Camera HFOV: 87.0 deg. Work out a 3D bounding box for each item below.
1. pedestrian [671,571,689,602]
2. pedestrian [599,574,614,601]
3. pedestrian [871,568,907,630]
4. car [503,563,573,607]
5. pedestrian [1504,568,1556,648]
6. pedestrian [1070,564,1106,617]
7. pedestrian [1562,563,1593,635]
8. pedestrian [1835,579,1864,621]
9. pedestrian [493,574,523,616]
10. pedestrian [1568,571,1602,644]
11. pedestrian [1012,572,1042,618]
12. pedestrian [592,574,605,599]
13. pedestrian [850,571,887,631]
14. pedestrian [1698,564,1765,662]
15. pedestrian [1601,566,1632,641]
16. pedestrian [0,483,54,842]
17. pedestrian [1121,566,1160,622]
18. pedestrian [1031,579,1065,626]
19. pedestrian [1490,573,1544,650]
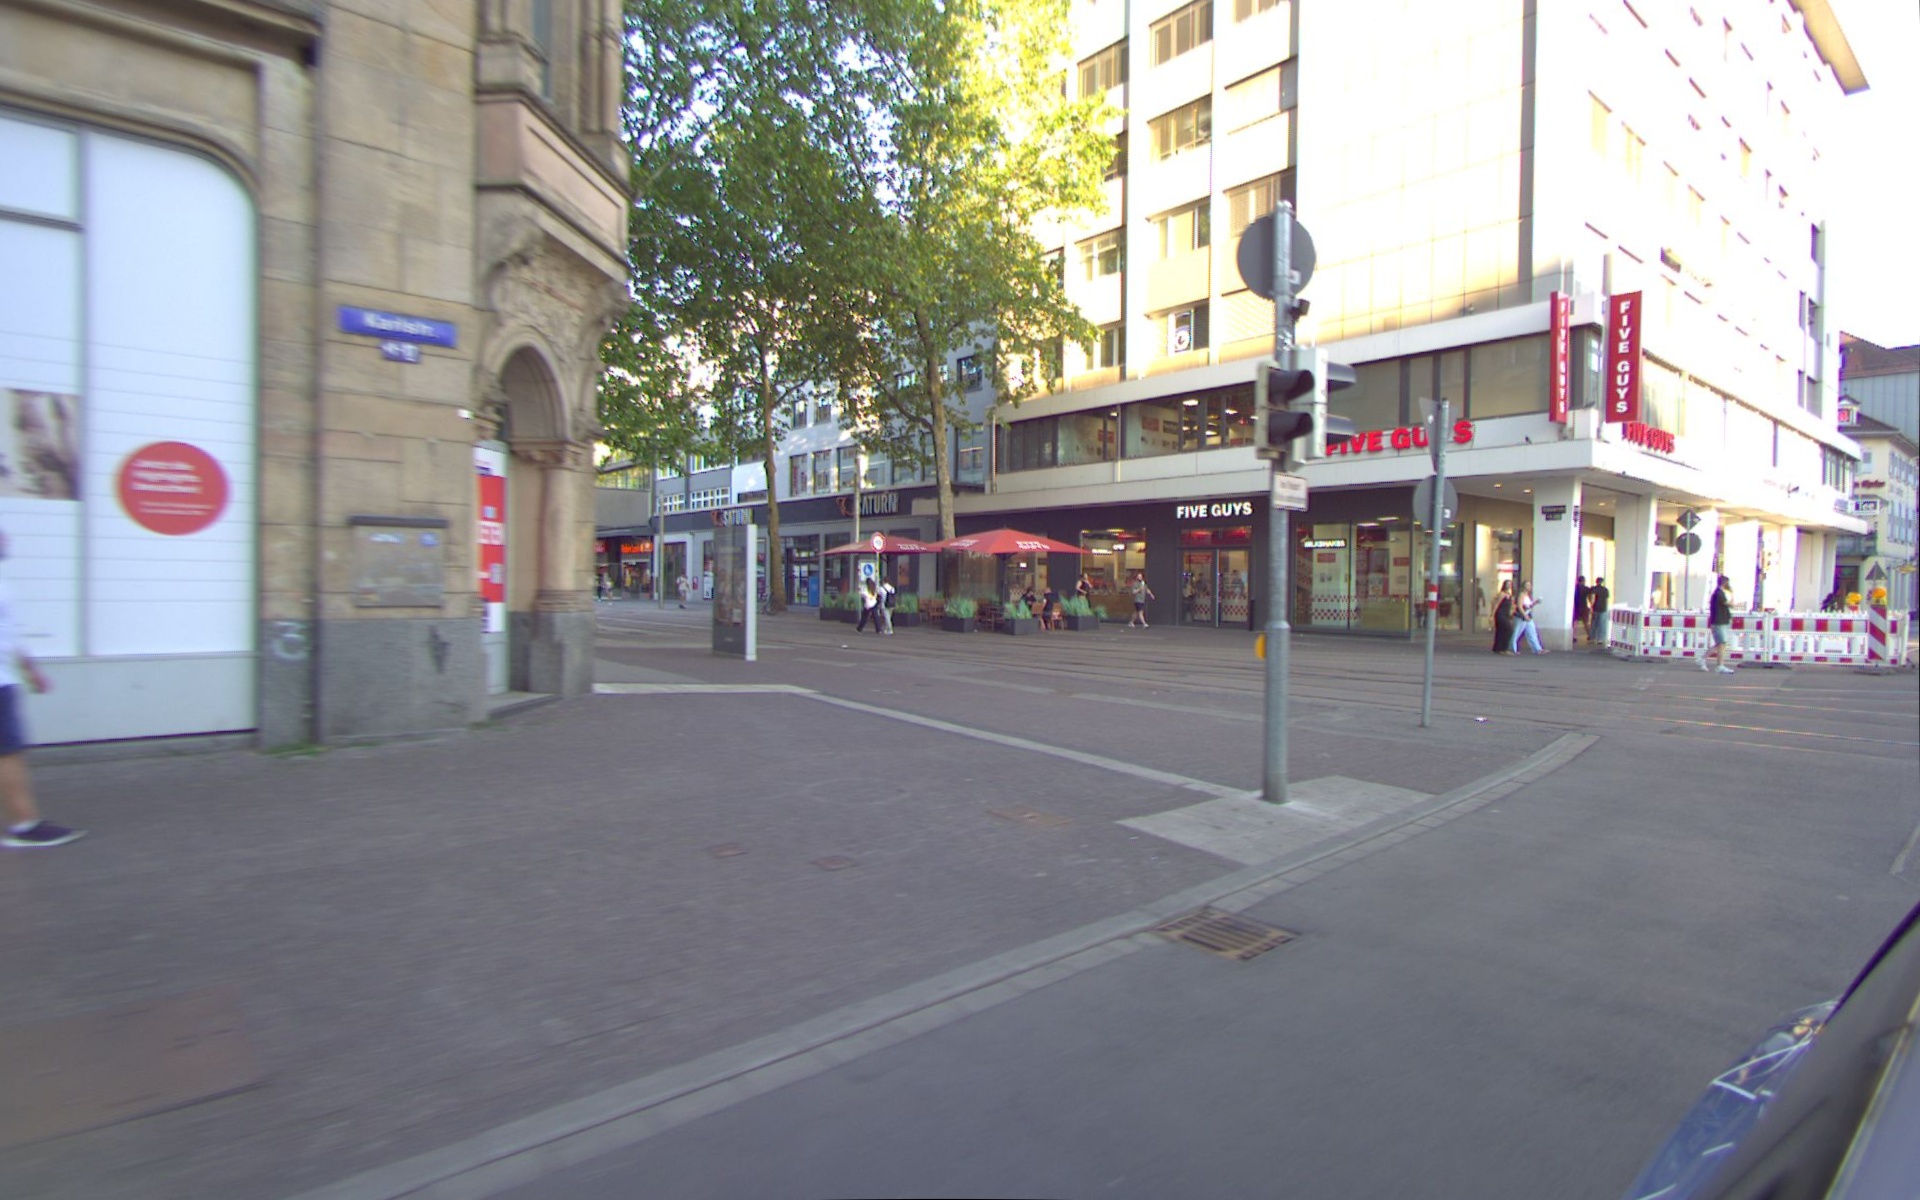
[{"bbox_3d":[-14.540,-0.691,52.580,0.651,1.631,0.663,0,0,-41],"label":"pedestrian"},{"bbox_3d":[-21.083,-0.736,60.385,0.651,1.631,0.663,0,0,-41],"label":"pedestrian"},{"bbox_3d":[-2.062,-0.031,29.249,0.701,1.757,0.777,0,0,-41],"label":"pedestrian"},{"bbox_3d":[-20.325,-0.692,48.633,1.964,2.039,4.289,0,0,-39],"label":"car"},{"bbox_3d":[12.799,0.166,22.738,0.759,1.757,0.789,0,0,-41],"label":"pedestrian"},{"bbox_3d":[4.254,-0.310,33.601,0.826,1.715,0.840,0,0,-39],"label":"pedestrian"},{"bbox_3d":[17.883,-0.026,29.323,0.462,2.039,0.707,-1,0,1],"label":"pedestrian"},{"bbox_3d":[36.736,-0.005,41.789,0.691,1.714,0.539,-1,0,14],"label":"pedestrian"},{"bbox_3d":[-15.783,-0.184,35.310,0.765,1.433,0.782,0,0,-41],"label":"pedestrian"},{"bbox_3d":[17.661,0.206,28.613,0.775,2.039,0.512,-1,0,30],"label":"pedestrian"},{"bbox_3d":[2.075,-0.155,31.316,0.678,1.387,0.643,0,0,-41],"label":"pedestrian"},{"bbox_3d":[-24.146,-0.883,67.566,0.651,1.631,0.663,0,0,-41],"label":"pedestrian"},{"bbox_3d":[-2.605,0.016,28.805,0.714,1.682,0.777,0,0,-41],"label":"pedestrian"},{"bbox_3d":[14.410,0.230,18.915,0.709,1.792,0.671,-1,0,-6],"label":"pedestrian"},{"bbox_3d":[18.112,0.084,27.931,0.702,2.039,0.465,0,-1,33],"label":"pedestrian"},{"bbox_3d":[-4.888,0.292,4.962,0.660,1.711,0.626,0,1,-42],"label":"pedestrian"},{"bbox_3d":[5.579,-0.186,31.264,0.826,1.715,0.840,0,0,-39],"label":"pedestrian"},{"bbox_3d":[2.646,0.069,30.489,0.678,1.387,0.777,0,0,-41],"label":"pedestrian"},{"bbox_3d":[12.234,0.235,22.224,0.701,1.651,0.826,0,0,-41],"label":"pedestrian"}]
